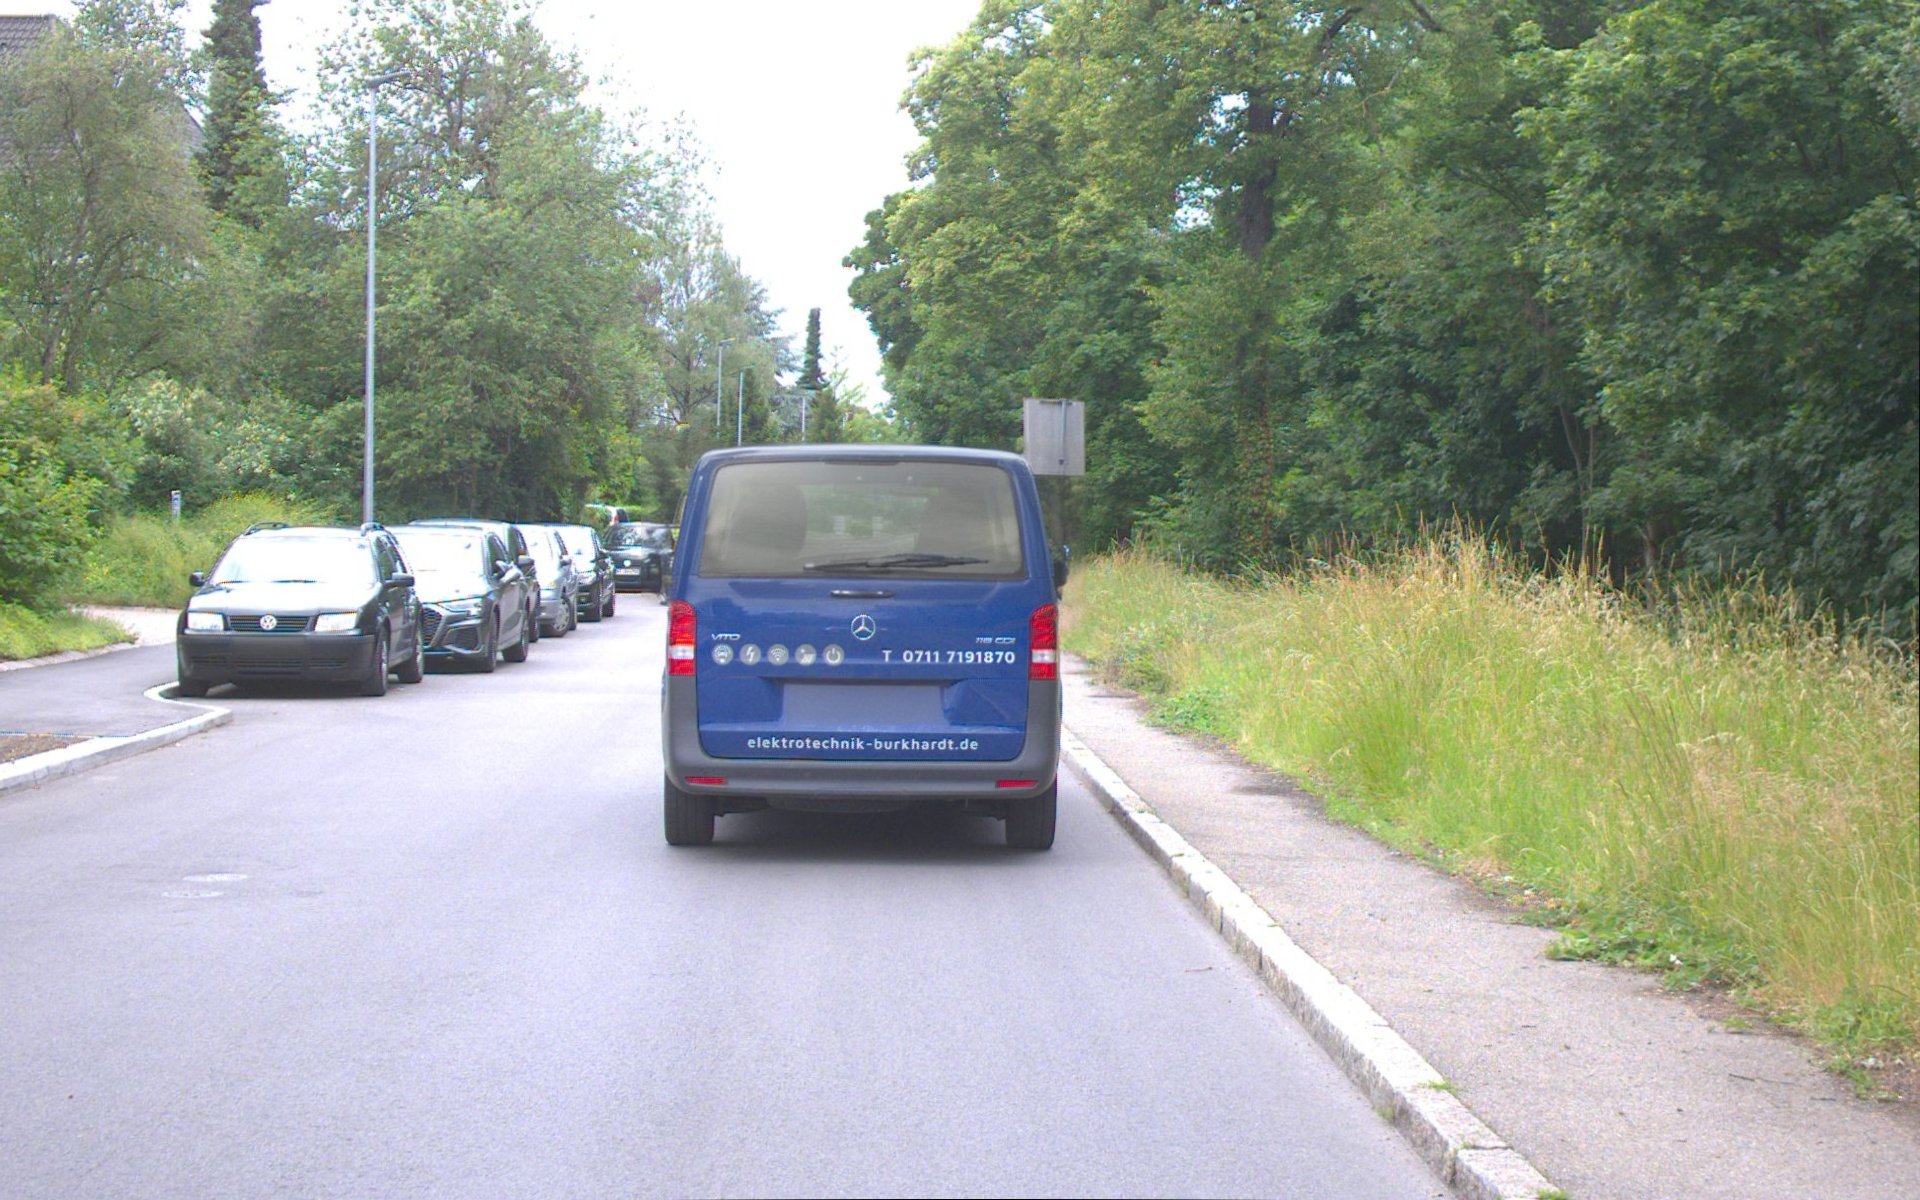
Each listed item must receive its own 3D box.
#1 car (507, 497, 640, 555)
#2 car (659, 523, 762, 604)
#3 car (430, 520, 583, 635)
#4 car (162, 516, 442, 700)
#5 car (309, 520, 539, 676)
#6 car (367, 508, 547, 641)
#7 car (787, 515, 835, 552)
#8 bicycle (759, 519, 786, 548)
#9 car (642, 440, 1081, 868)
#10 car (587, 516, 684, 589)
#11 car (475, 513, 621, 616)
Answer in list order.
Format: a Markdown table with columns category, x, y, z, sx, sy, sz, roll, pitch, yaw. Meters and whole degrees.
| category | x | y | z | sx | sy | sz | roll | pitch | yaw |
| --- | --- | --- | --- | --- | --- | --- | --- | --- | --- |
| car | -12.158 | -2.324 | 108.140 | 3.694 | 1.632 | 1.827 | 3 | 1 | 12 |
| car | -4.735 | -0.720 | 65.741 | 1.780 | 1.421 | 4.490 | 2 | 1 | -3 |
| car | -5.954 | -0.332 | 45.506 | 1.624 | 1.427 | 4.352 | 1 | 1 | -3 |
| car | -5.726 | 0.012 | 30.422 | 1.682 | 1.477 | 4.693 | 1 | 1 | -2 |
| car | -5.447 | -0.071 | 35.399 | 1.706 | 1.477 | 4.496 | 1 | 1 | -1 |
| car | -5.887 | -0.331 | 40.611 | 1.624 | 1.477 | 4.001 | 1 | 1 | -2 |
| car | -7.028 | -3.151 | 162.343 | 1.836 | 1.625 | 4.300 | 4 | 1 | 2 |
| bicycle | -8.696 | -3.089 | 159.460 | 0.906 | 1.247 | 2.916 | 5 | 1 | 2 |
| car | -0.562 | 0.153 | 17.353 | 1.888 | 1.837 | 4.001 | 2 | 3 | -4 |
| car | -6.788 | -1.015 | 72.200 | 1.623 | 1.445 | 3.969 | 1 | 1 | 0 |
| car | -6.174 | -0.572 | 51.989 | 1.778 | 1.427 | 5.106 | 2 | 1 | -3 |
